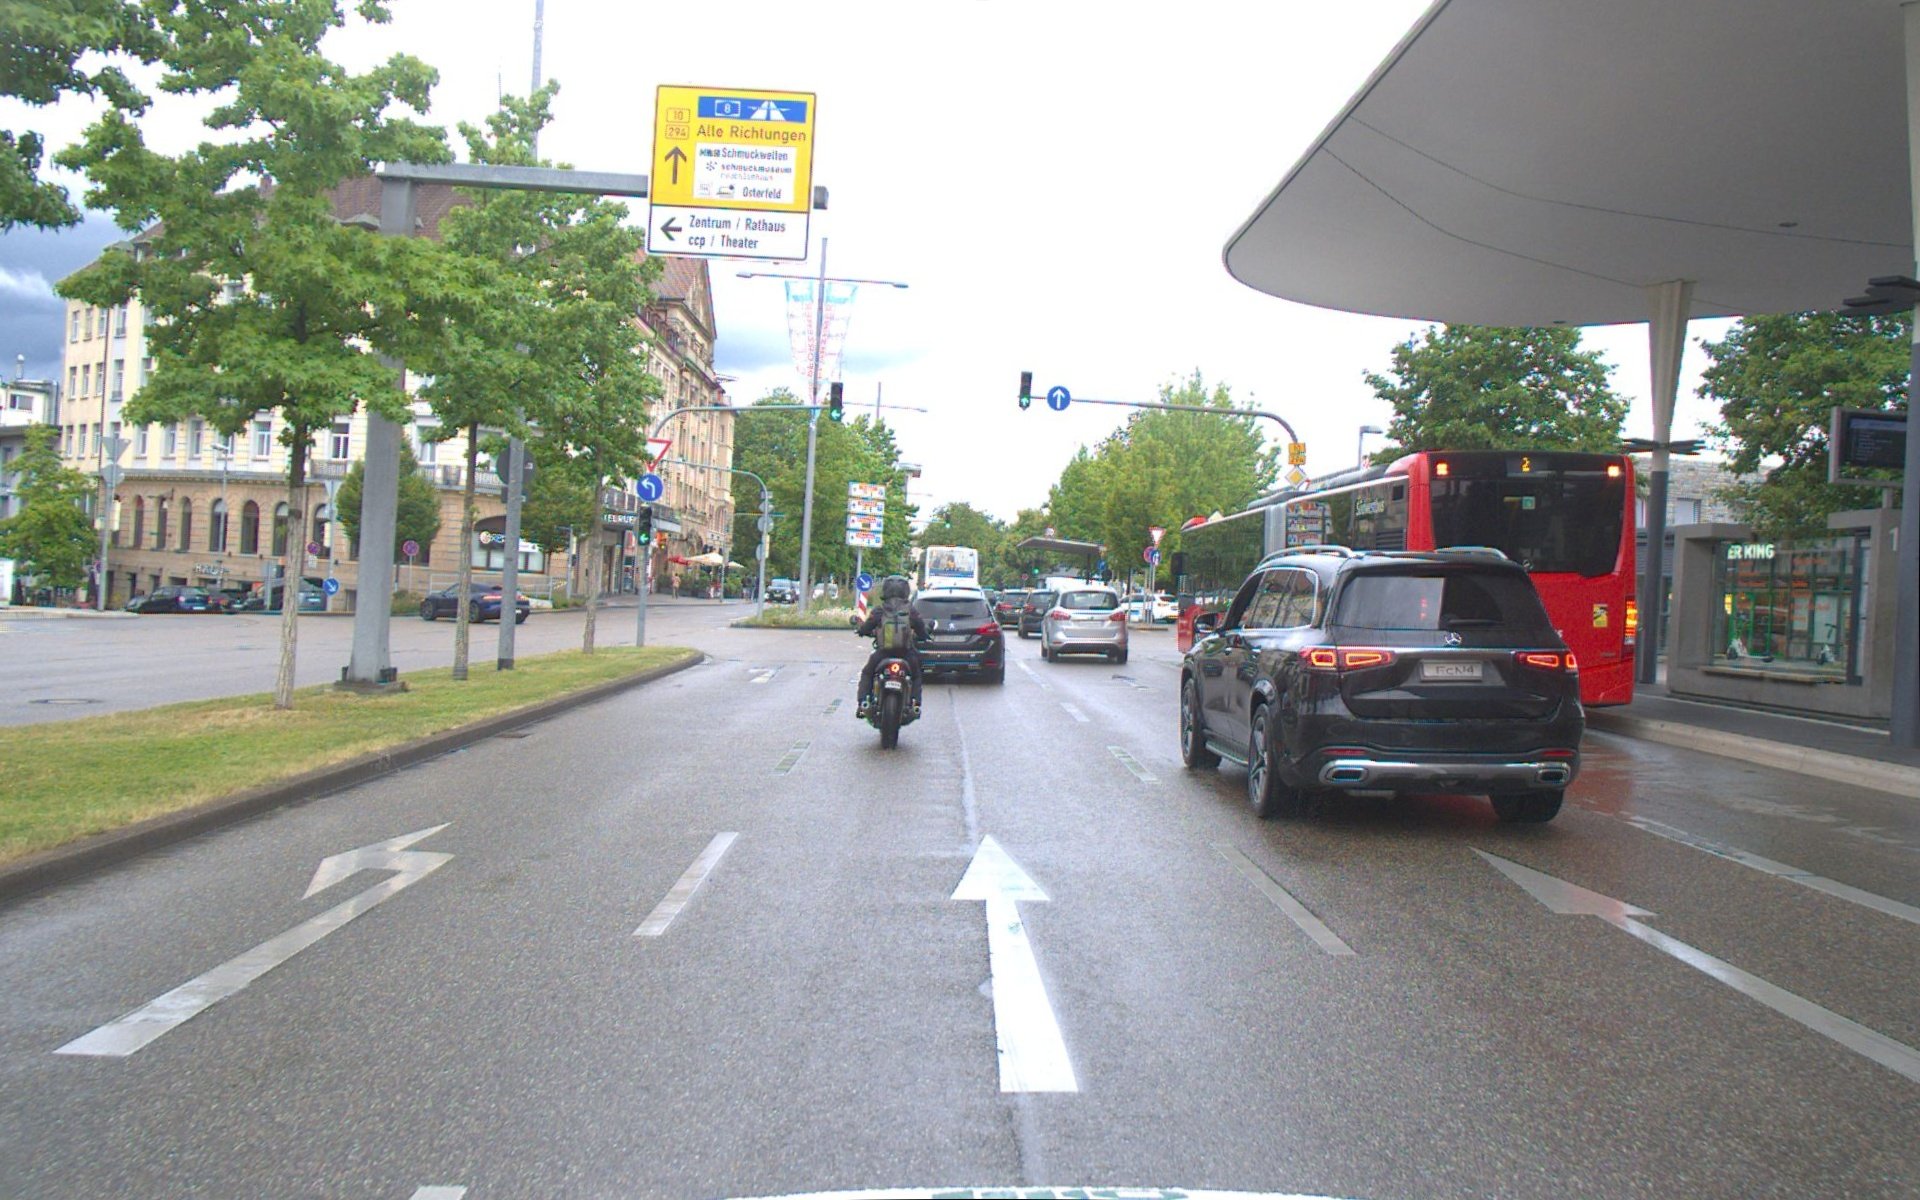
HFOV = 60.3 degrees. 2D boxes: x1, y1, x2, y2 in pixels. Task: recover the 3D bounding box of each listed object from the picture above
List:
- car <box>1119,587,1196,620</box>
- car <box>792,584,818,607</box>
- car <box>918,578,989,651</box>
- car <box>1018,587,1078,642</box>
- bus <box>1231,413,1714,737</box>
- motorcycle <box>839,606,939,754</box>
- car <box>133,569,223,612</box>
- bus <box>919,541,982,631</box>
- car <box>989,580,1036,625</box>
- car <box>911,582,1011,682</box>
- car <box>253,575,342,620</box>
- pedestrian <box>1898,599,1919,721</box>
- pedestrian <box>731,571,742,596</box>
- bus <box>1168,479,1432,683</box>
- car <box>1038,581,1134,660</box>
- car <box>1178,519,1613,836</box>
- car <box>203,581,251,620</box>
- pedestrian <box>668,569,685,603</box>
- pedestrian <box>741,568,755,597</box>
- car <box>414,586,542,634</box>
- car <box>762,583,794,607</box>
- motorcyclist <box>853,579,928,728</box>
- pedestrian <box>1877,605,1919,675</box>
[{"bbox_3d":[9.691,0.152,81.275,1.566,1.594,3.741,0,0,-40],"label":"car"},{"bbox_3d":[-10.710,-0.319,114.397,1.543,1.594,3.429,0,0,-1],"label":"car"},{"bbox_3d":[-0.169,0.301,37.837,1.543,1.594,3.870,0,0,-1],"label":"car"},{"bbox_3d":[2.616,0.411,49.728,1.543,1.594,3.870,0,0,-1],"label":"car"},{"bbox_3d":[6.319,-0.296,22.938,3.219,3.349,10.877,1,0,0],"label":"bus"},{"bbox_3d":[-0.641,0.709,15.537,0.776,1.284,1.855,0,0,2],"label":"motorcycle"},{"bbox_3d":[-32.535,-0.405,68.776,3.632,1.656,1.835,2,0,36],"label":"car"},{"bbox_3d":[-0.585,-0.629,82.133,2.780,4.057,11.860,2,0,-1],"label":"bus"},{"bbox_3d":[1.885,0.087,60.721,1.543,1.594,3.795,0,0,-1],"label":"car"},{"bbox_3d":[0.012,0.475,27.358,1.543,1.531,3.871,0,0,0],"label":"car"},{"bbox_3d":[-28.412,-0.124,70.870,2.102,1.807,4.323,1,0,-43],"label":"car"},{"bbox_3d":[13.740,0.854,23.580,0.563,1.707,0.582,1,-1,25],"label":"pedestrian"},{"bbox_3d":[-16.154,-1.191,119.704,0.550,1.809,0.497,1,0,34],"label":"pedestrian"},{"bbox_3d":[6.272,-0.344,32.236,3.224,3.346,8.848,1,0,0],"label":"bus"},{"bbox_3d":[2.638,0.391,35.345,1.705,1.594,3.870,0,0,-1],"label":"car"},{"bbox_3d":[2.956,0.445,12.426,1.917,1.908,4.872,0,0,-1],"label":"car"},{"bbox_3d":[-32.972,0.014,74.379,1.640,1.632,3.220,-1,2,-30],"label":"car"},{"bbox_3d":[-17.032,-0.829,99.316,0.715,2.049,0.819,1,0,-27],"label":"pedestrian"},{"bbox_3d":[-15.157,-1.261,118.187,0.715,2.000,0.819,1,0,-27],"label":"pedestrian"},{"bbox_3d":[-16.635,0.301,57.028,4.308,1.598,1.818,0,0,31],"label":"car"},{"bbox_3d":[-11.878,-0.339,108.170,1.744,1.594,3.429,0,0,-1],"label":"car"},{"bbox_3d":[-0.651,0.495,15.731,0.628,1.371,0.689,1,0,2],"label":"motorcyclist"},{"bbox_3d":[22.662,0.980,39.945,0.592,1.605,0.673,5,-4,5],"label":"pedestrian"}]
